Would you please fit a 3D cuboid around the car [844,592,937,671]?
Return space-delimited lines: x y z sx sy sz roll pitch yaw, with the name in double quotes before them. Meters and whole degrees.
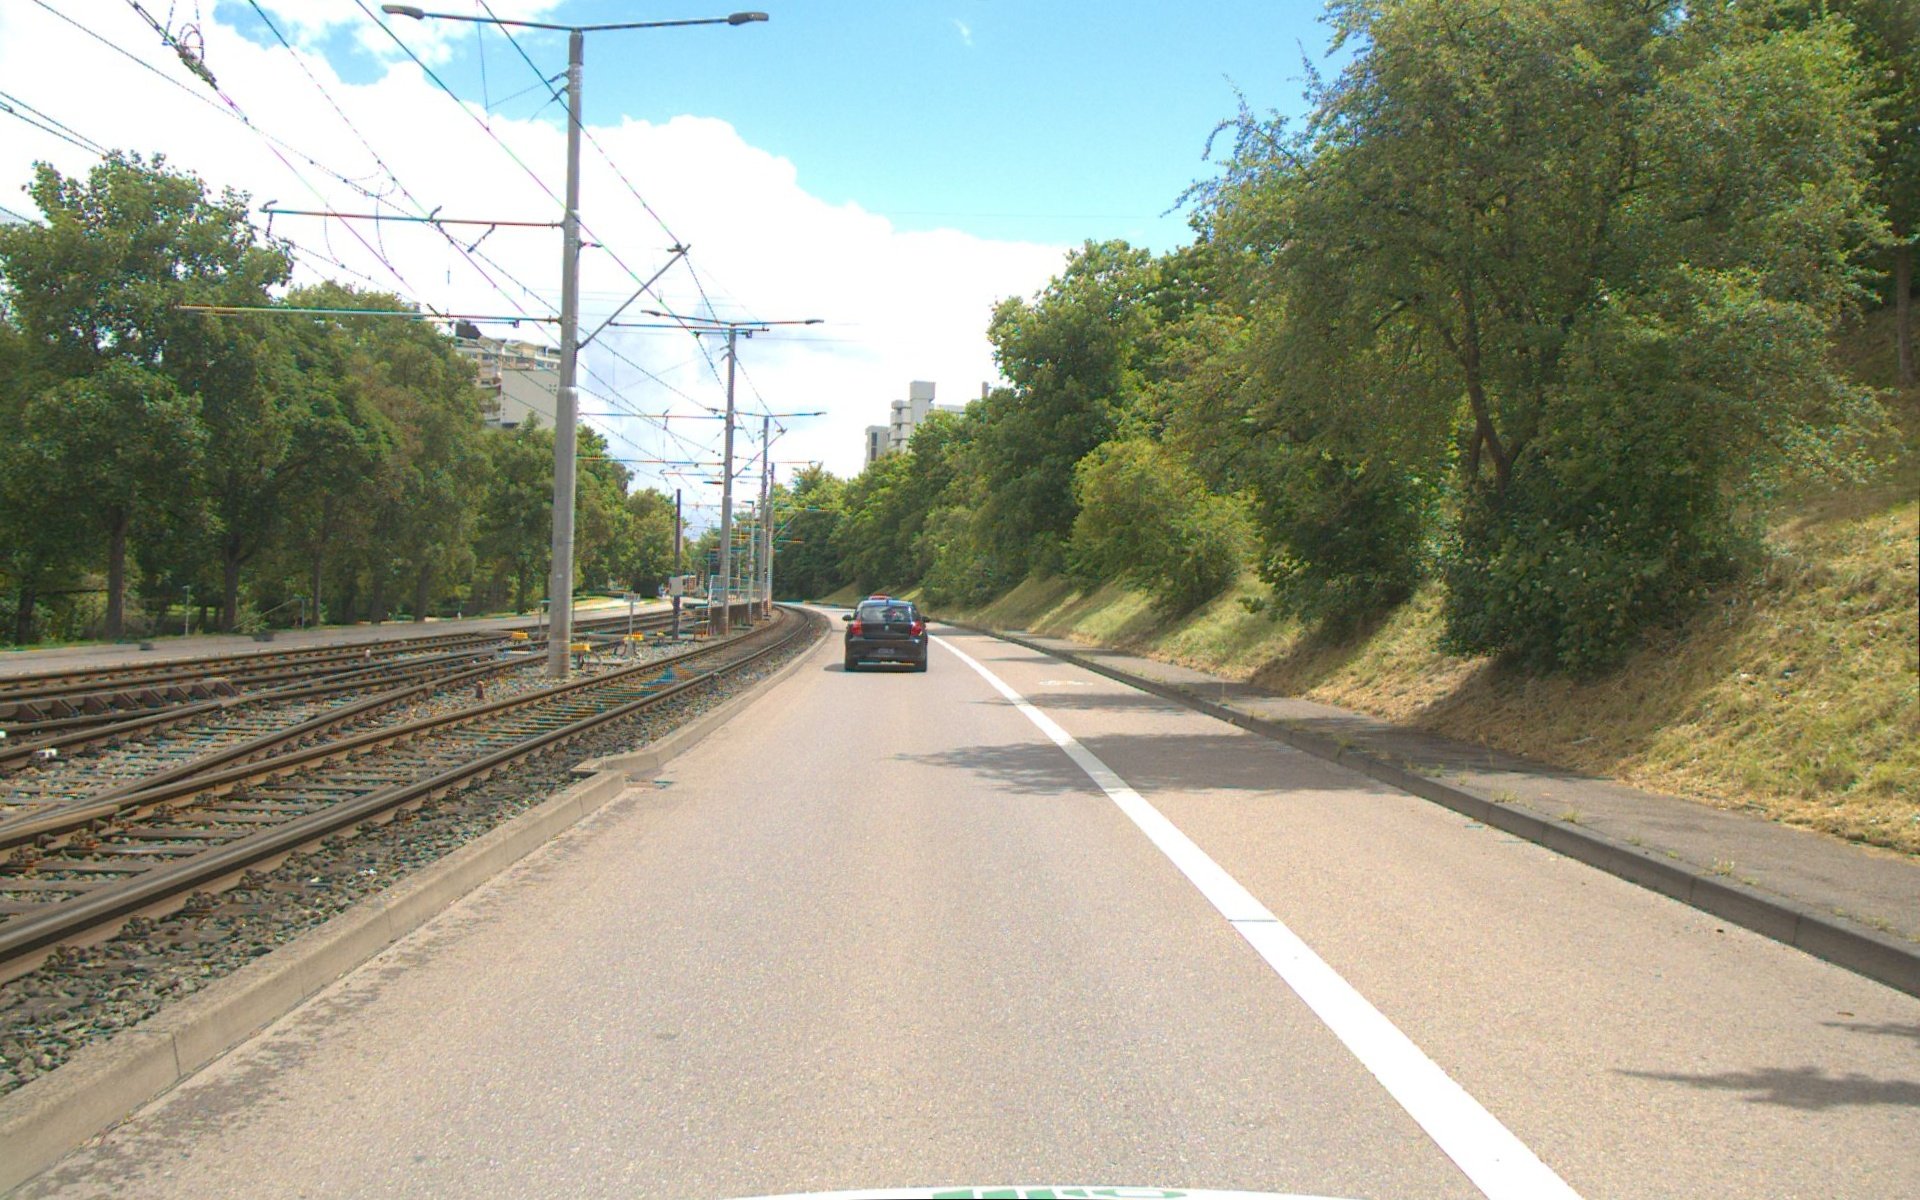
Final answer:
"car" -1.403 0.654 34.782 1.673 1.486 3.960 3 -1 1

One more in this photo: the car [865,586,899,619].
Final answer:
"car" -3.893 0.116 82.493 1.592 1.468 3.420 2 2 -3
